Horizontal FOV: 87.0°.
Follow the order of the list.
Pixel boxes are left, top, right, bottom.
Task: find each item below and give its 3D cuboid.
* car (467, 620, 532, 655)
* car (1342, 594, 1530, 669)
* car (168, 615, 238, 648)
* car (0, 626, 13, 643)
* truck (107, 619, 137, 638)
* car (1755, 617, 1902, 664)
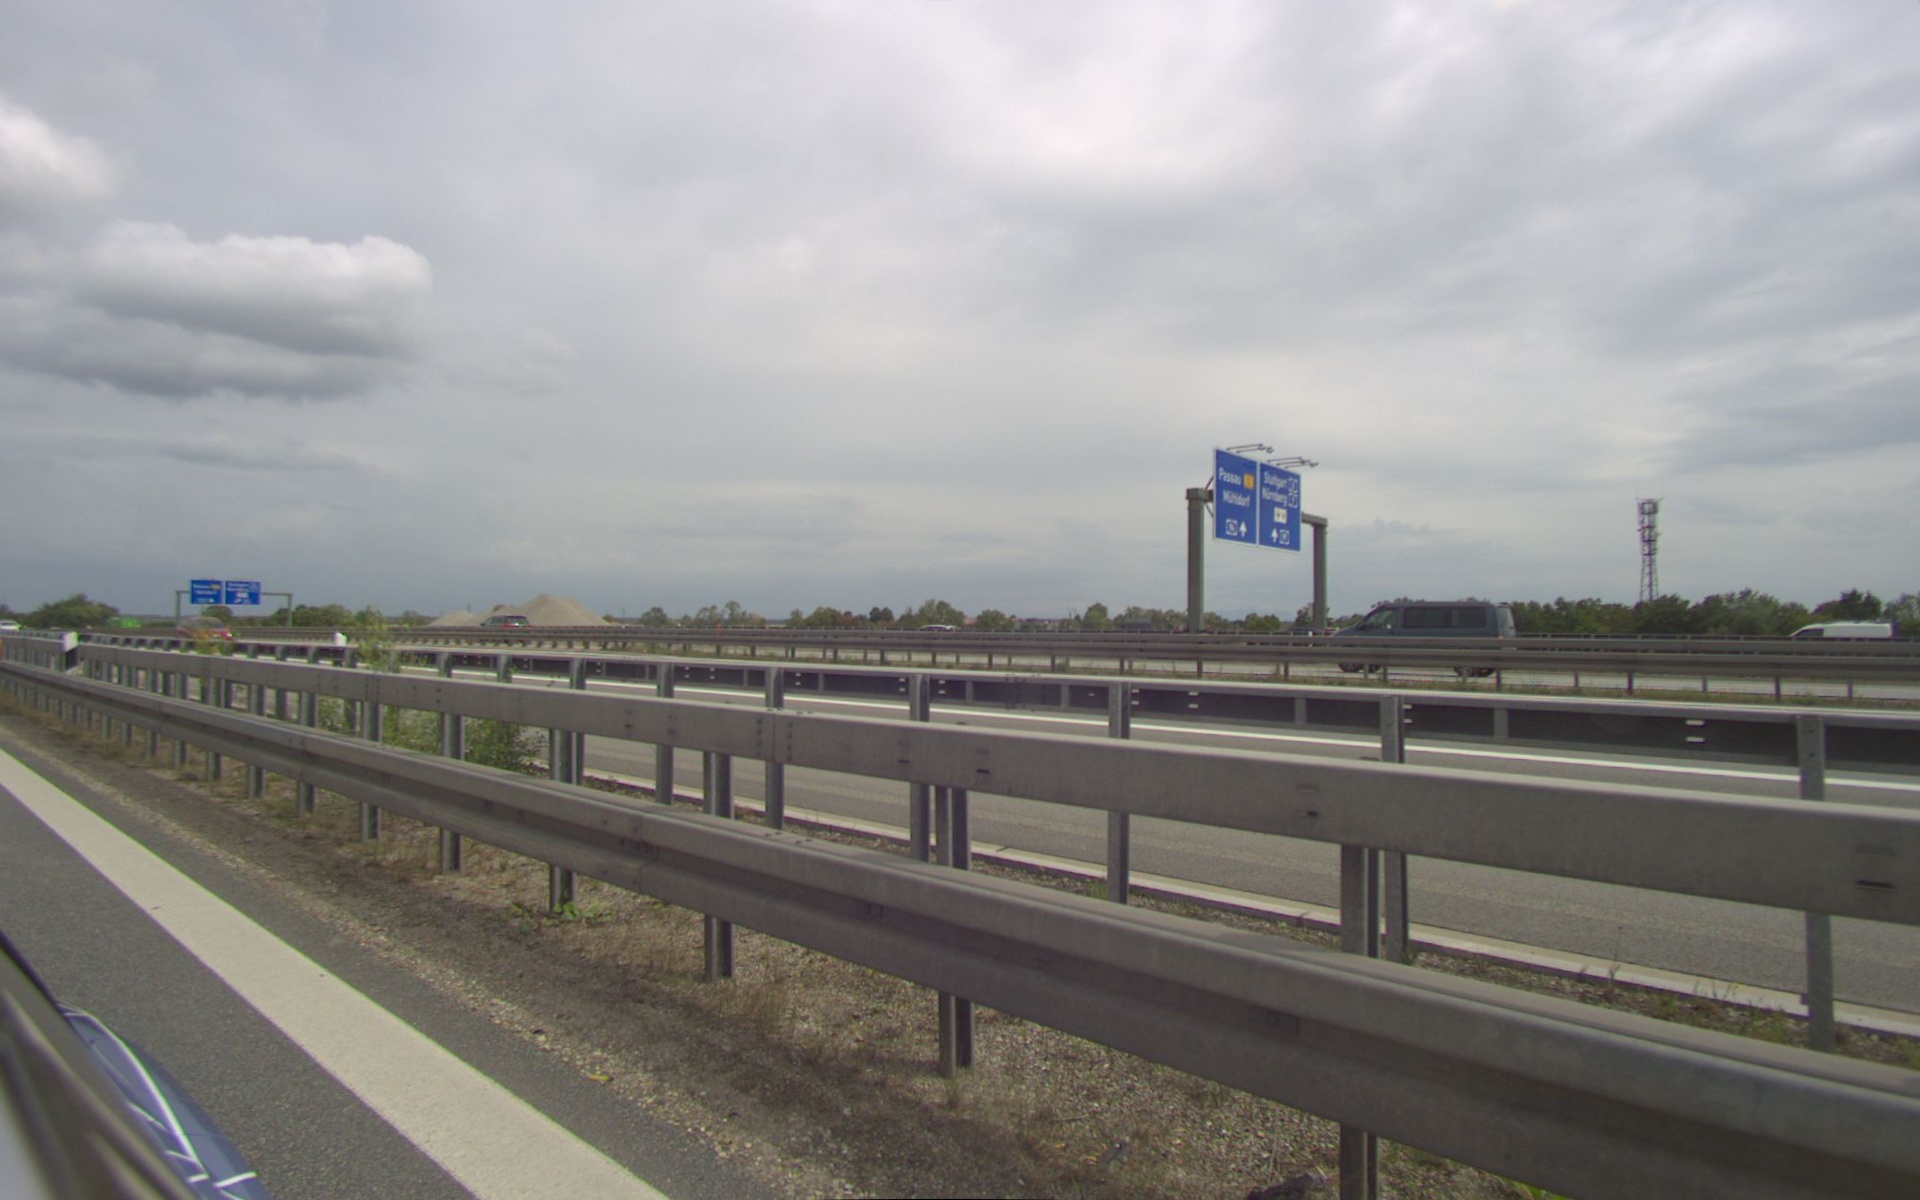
[{"bbox_3d":[-25.389,2.078,55.741,4.000,1.807,1.889,-2,-1,43],"label":"car"},{"bbox_3d":[12.800,0.841,27.366,4.220,1.829,1.887,-2,0,41],"label":"car"},{"bbox_3d":[-37.729,1.560,50.397,4.350,1.557,1.801,-2,-1,40],"label":"car"},{"bbox_3d":[-121.001,4.340,127.543,4.463,2.029,1.973,-2,-1,41],"label":"car"},{"bbox_3d":[-170.467,5.759,205.720,10.430,3.662,2.982,-2,-1,41],"label":"truck"},{"bbox_3d":[31.099,1.422,36.364,3.908,1.506,1.649,-1,3,41],"label":"car"}]
